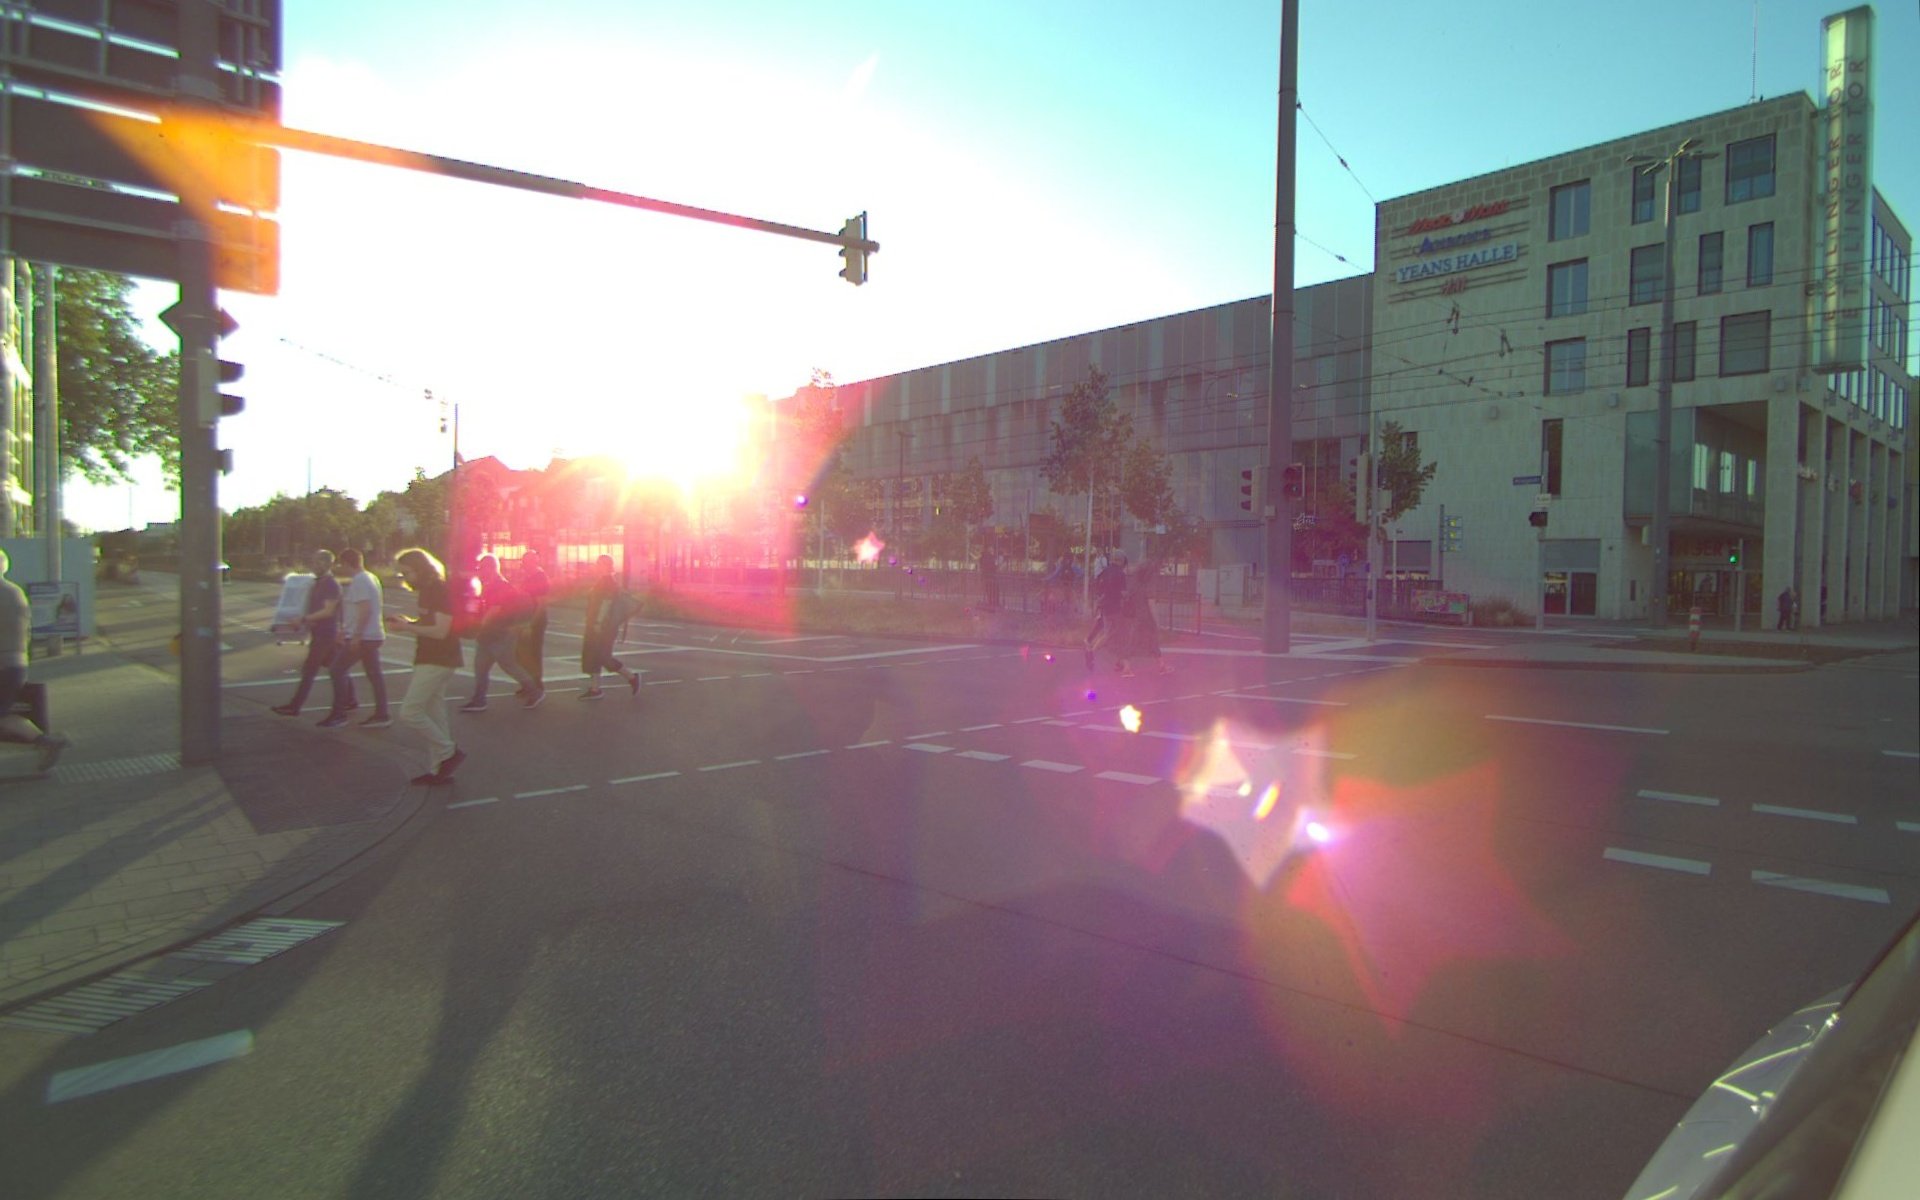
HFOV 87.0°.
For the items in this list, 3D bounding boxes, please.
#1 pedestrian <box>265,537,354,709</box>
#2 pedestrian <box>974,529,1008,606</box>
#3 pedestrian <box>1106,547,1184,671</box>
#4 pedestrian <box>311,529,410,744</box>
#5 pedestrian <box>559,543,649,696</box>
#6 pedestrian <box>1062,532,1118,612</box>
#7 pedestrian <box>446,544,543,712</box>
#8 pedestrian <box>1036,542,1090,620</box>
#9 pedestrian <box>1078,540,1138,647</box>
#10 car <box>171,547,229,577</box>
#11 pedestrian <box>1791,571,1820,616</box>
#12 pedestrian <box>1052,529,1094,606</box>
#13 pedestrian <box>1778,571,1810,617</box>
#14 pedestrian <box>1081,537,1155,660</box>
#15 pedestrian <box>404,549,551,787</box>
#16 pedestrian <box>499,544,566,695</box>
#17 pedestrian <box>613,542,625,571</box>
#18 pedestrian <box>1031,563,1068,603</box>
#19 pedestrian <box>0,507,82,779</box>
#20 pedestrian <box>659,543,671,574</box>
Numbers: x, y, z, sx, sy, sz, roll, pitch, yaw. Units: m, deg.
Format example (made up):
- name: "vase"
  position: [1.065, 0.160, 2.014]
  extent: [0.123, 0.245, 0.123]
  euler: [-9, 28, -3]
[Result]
- name: "pedestrian"
  position: [-6.889, 0.218, 10.718]
  extent: [0.748, 1.733, 0.644]
  euler: [0, 2, -38]
- name: "pedestrian"
  position: [0.784, -0.810, 25.273]
  extent: [0.575, 1.877, 0.604]
  euler: [0, 2, -37]
- name: "pedestrian"
  position: [2.602, 0.105, 14.255]
  extent: [0.855, 1.680, 0.644]
  euler: [-1, 2, -37]
- name: "pedestrian"
  position: [-5.831, 0.319, 9.844]
  extent: [0.748, 1.992, 0.644]
  euler: [-1, 3, -37]
- name: "pedestrian"
  position: [-4.233, 0.207, 12.029]
  extent: [0.855, 1.733, 0.644]
  euler: [0, 2, -38]
- name: "pedestrian"
  position: [3.167, -0.705, 24.665]
  extent: [0.986, 1.875, 0.896]
  euler: [-1, 6, -27]
- name: "pedestrian"
  position: [-5.093, 0.274, 11.076]
  extent: [0.749, 1.732, 0.644]
  euler: [-5, 5, -37]
- name: "pedestrian"
  position: [2.408, -0.465, 23.735]
  extent: [0.986, 1.744, 0.873]
  euler: [0, 5, -13]
- name: "pedestrian"
  position: [2.624, -0.138, 17.906]
  extent: [0.855, 1.835, 0.644]
  euler: [-2, 3, -37]
- name: "car"
  position: [-41.792, -2.107, 55.632]
  extent: [3.989, 1.549, 1.968]
  euler: [3, 3, 44]
- name: "pedestrian"
  position: [32.773, -0.256, 39.230]
  extent: [0.821, 1.727, 0.763]
  euler: [-1, 2, -45]
- name: "pedestrian"
  position: [2.859, -0.842, 25.623]
  extent: [0.882, 1.875, 0.723]
  euler: [3, 5, 17]
- name: "pedestrian"
  position: [31.824, -0.244, 38.612]
  extent: [0.820, 1.727, 0.764]
  euler: [0, 2, -41]
- name: "pedestrian"
  position: [2.337, -0.041, 14.981]
  extent: [0.855, 1.752, 0.644]
  euler: [-1, 2, -37]
- name: "pedestrian"
  position: [-3.582, 0.453, 7.513]
  extent: [0.855, 1.648, 0.644]
  euler: [0, 2, -40]
- name: "pedestrian"
  position: [-5.195, 0.213, 12.288]
  extent: [0.566, 1.766, 0.644]
  euler: [-3, 3, -37]
- name: "pedestrian"
  position: [-22.529, -2.907, 66.892]
  extent: [0.604, 1.875, 0.728]
  euler: [-2, 6, -29]
- name: "pedestrian"
  position: [2.215, -0.427, 25.090]
  extent: [0.643, 0.975, 0.648]
  euler: [-1, 3, -44]
- name: "pedestrian"
  position: [-7.081, 0.297, 7.557]
  extent: [0.606, 1.957, 0.646]
  euler: [0, 2, -24]
- name: "pedestrian"
  position: [-19.333, -2.740, 66.363]
  extent: [0.604, 1.871, 0.730]
  euler: [-2, 14, -28]
